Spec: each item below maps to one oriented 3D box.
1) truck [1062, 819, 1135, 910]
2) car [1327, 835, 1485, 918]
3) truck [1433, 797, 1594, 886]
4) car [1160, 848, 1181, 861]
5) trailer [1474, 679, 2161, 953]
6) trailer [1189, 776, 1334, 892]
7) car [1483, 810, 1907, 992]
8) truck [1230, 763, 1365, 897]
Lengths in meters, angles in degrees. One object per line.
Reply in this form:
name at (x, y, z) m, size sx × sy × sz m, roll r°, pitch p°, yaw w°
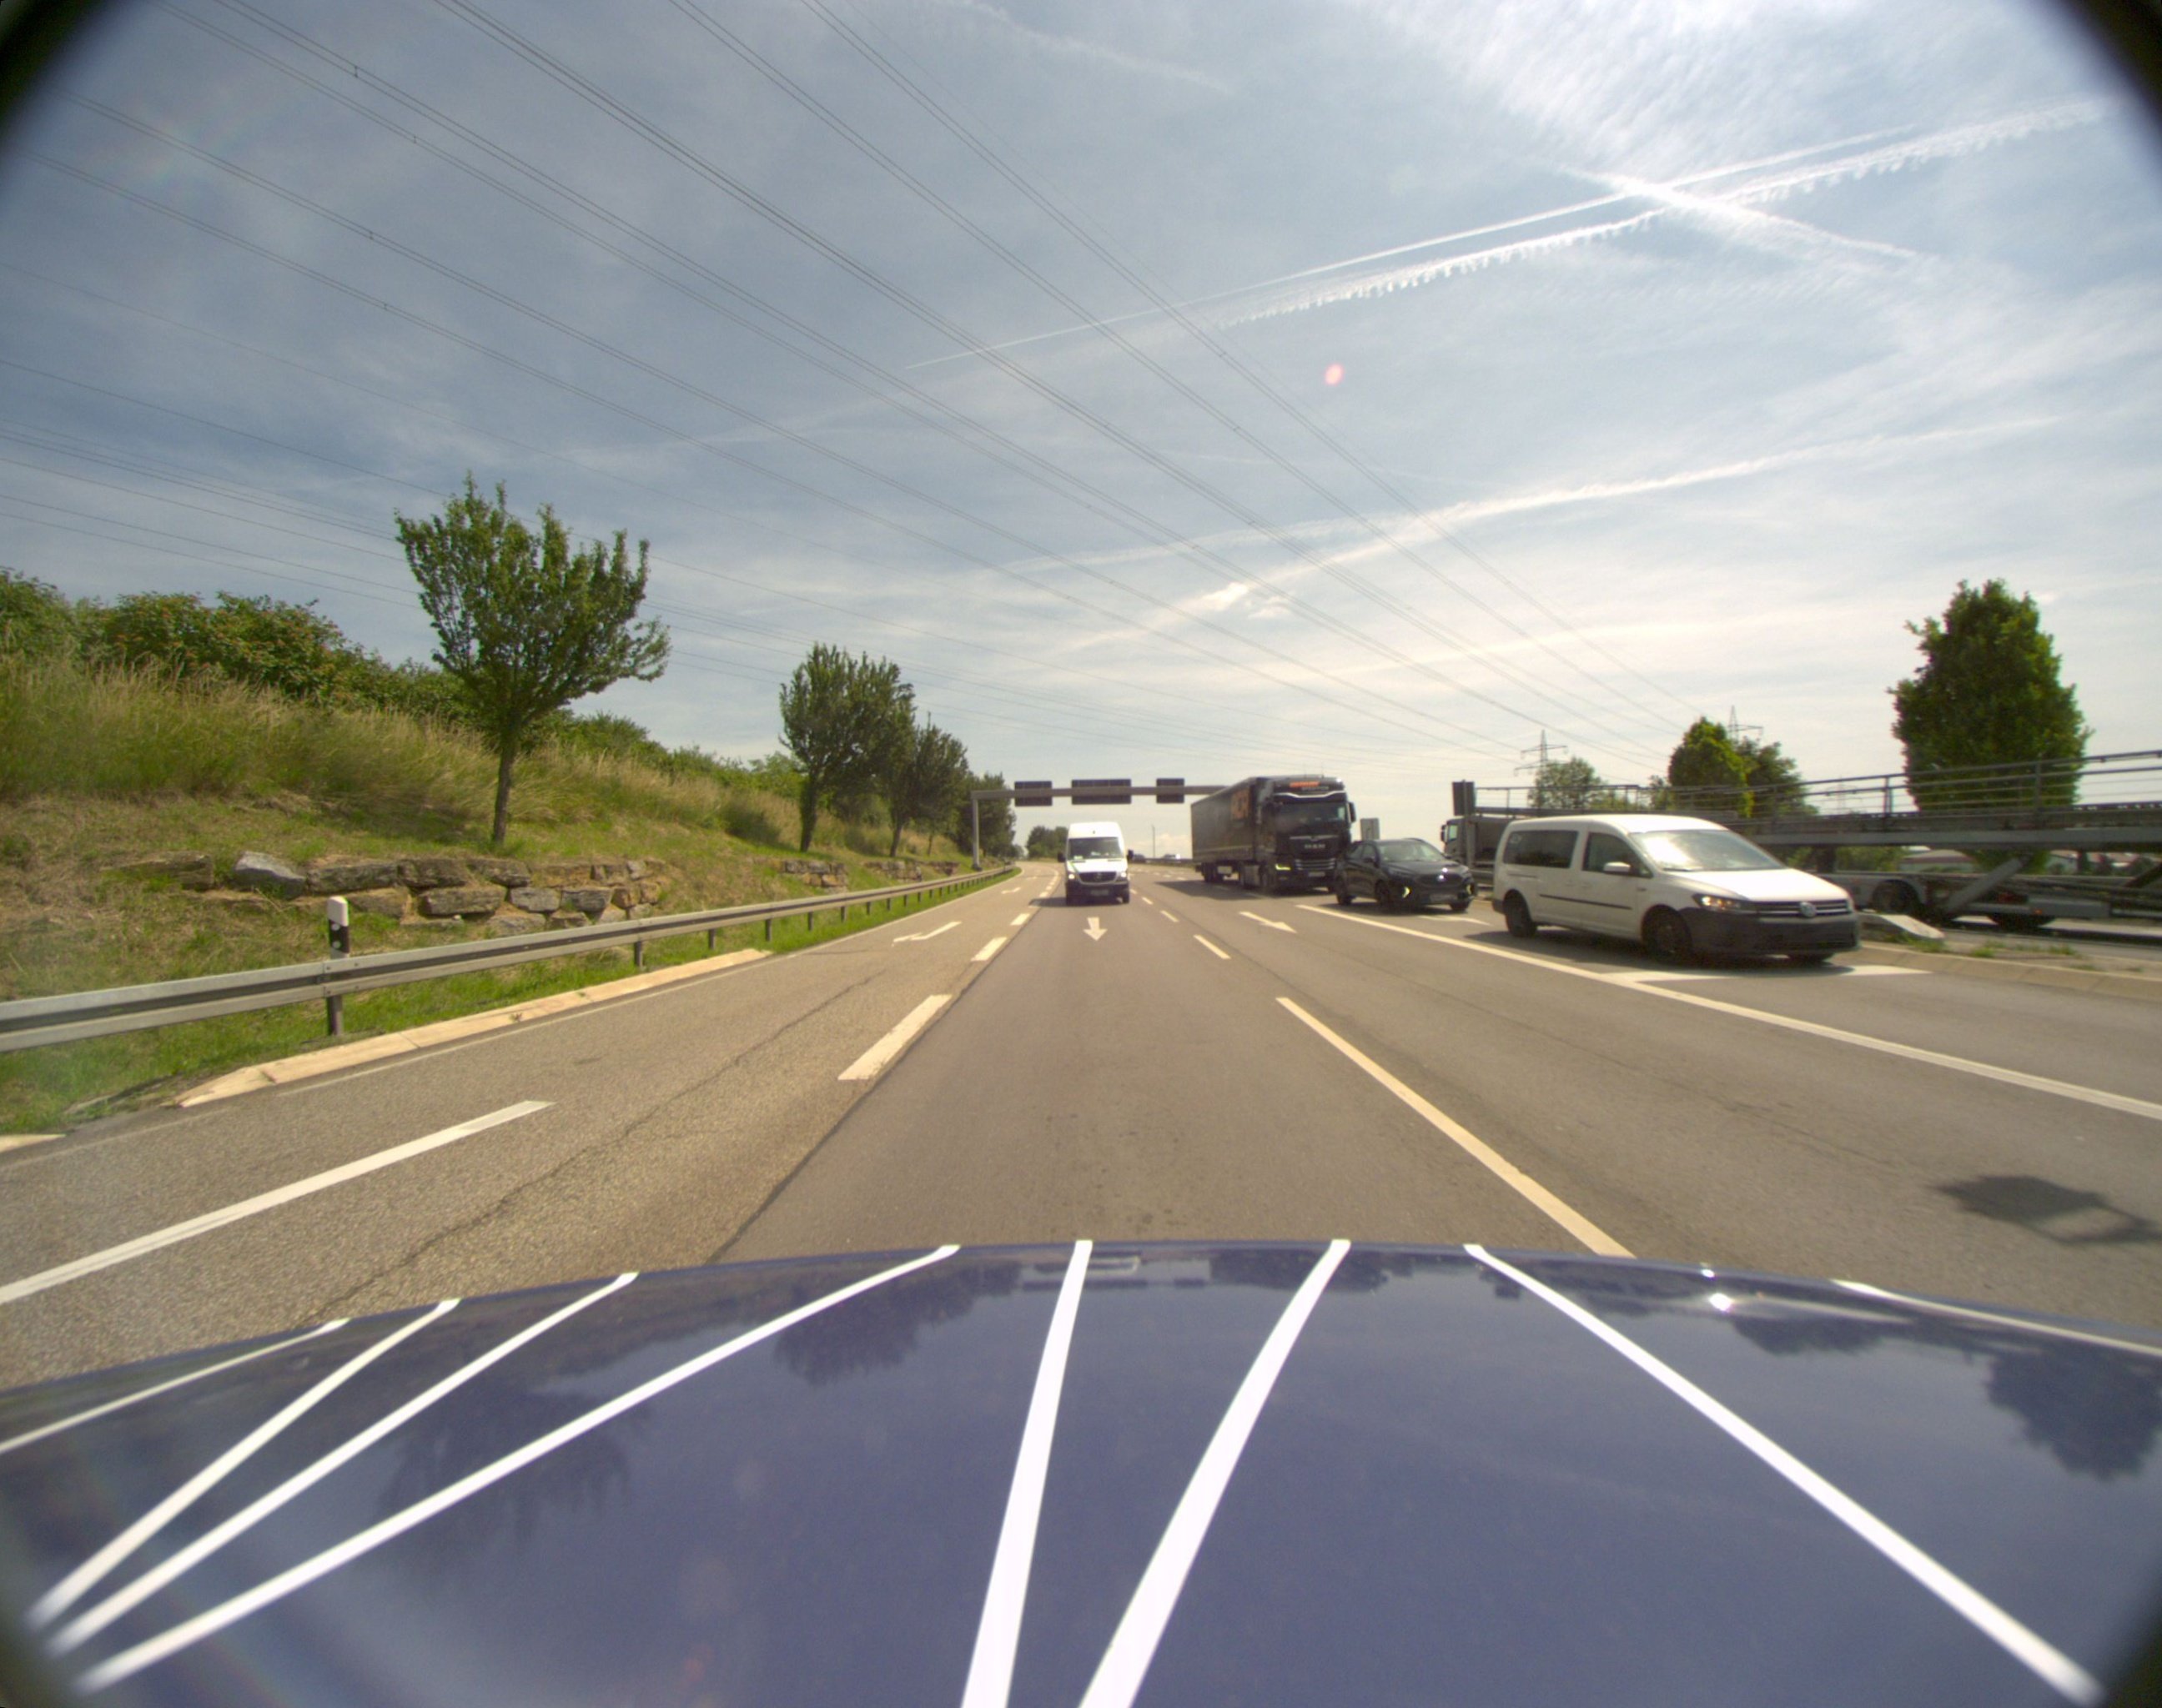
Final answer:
truck at (0.497, 0.269, 24.036) m, size 1.998 × 2.518 × 5.104 m, roll -2°, pitch 1°, yaw 0°
car at (7.438, 0.461, 17.918) m, size 1.860 × 1.648 × 4.348 m, roll -2°, pitch 0°, yaw 1°
truck at (16.250, -0.477, 29.099) m, size 2.806 × 2.996 × 5.989 m, roll -1°, pitch 1°, yaw 1°
car at (10.564, 0.003, 89.836) m, size 1.740 × 1.495 × 4.323 m, roll 1°, pitch 1°, yaw -2°
trailer at (16.213, -0.687, 19.108) m, size 2.645 × 3.742 × 19.796 m, roll -1°, pitch 1°, yaw 1°
trailer at (7.192, -0.737, 33.010) m, size 2.790 × 3.891 × 13.784 m, roll -2°, pitch 1°, yaw -1°
car at (7.510, 0.464, 10.105) m, size 1.772 × 1.788 × 4.751 m, roll -2°, pitch 0°, yaw 0°
truck at (7.241, -0.749, 26.280) m, size 2.790 × 3.990 × 5.970 m, roll -2°, pitch 1°, yaw -1°
